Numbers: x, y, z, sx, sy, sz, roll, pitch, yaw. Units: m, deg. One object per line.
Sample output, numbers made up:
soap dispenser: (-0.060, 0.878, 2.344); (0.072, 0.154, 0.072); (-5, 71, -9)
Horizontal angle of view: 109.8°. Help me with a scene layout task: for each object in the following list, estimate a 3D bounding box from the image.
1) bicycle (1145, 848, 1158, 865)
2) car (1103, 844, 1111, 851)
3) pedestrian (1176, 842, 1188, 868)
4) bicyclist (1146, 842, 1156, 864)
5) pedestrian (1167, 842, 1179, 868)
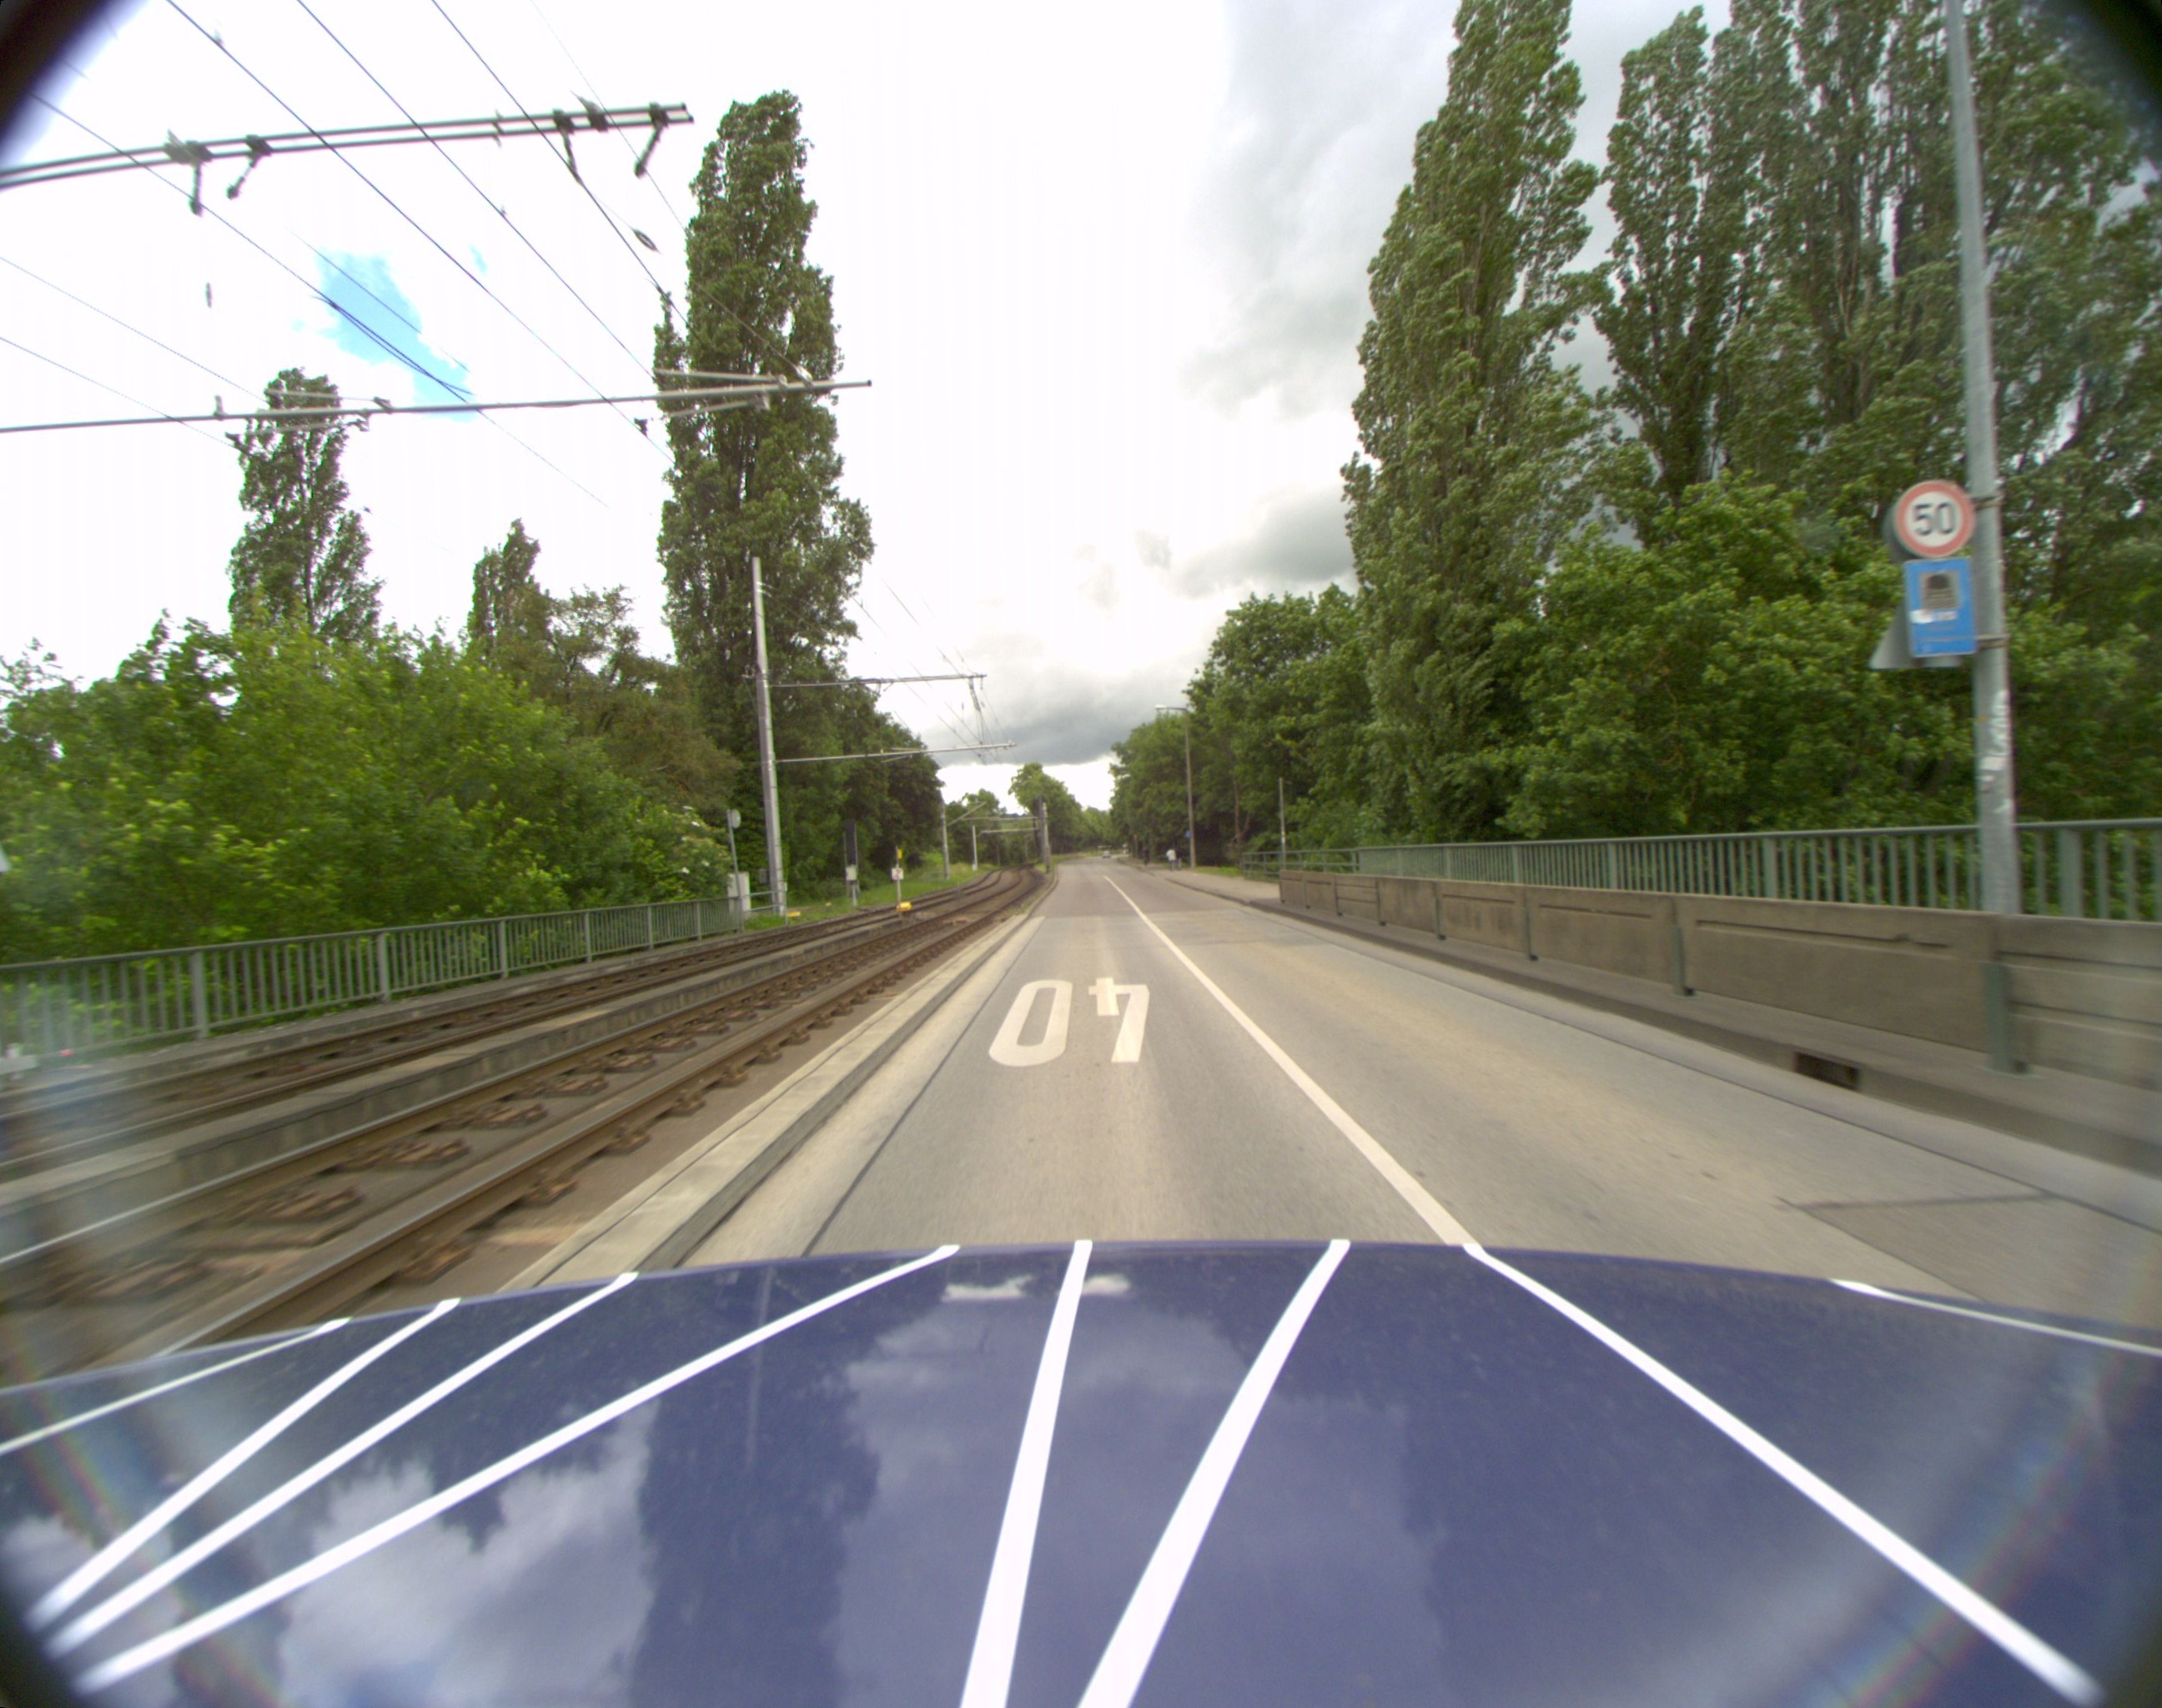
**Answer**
bicycle: (6.342, 0.216, 68.404); (0.700, 1.324, 2.279); (-5, 2, -4)
car: (6.013, -1.515, 177.084); (1.799, 1.483, 4.180); (-1, 0, 0)
pedestrian: (7.106, 0.087, 53.259); (0.588, 1.793, 0.822); (-5, 1, -1)
bicyclist: (6.311, -0.084, 68.438); (0.688, 1.937, 0.835); (-4, 1, -4)
pedestrian: (6.447, 0.069, 53.218); (0.552, 1.755, 0.858); (-7, 1, -1)
